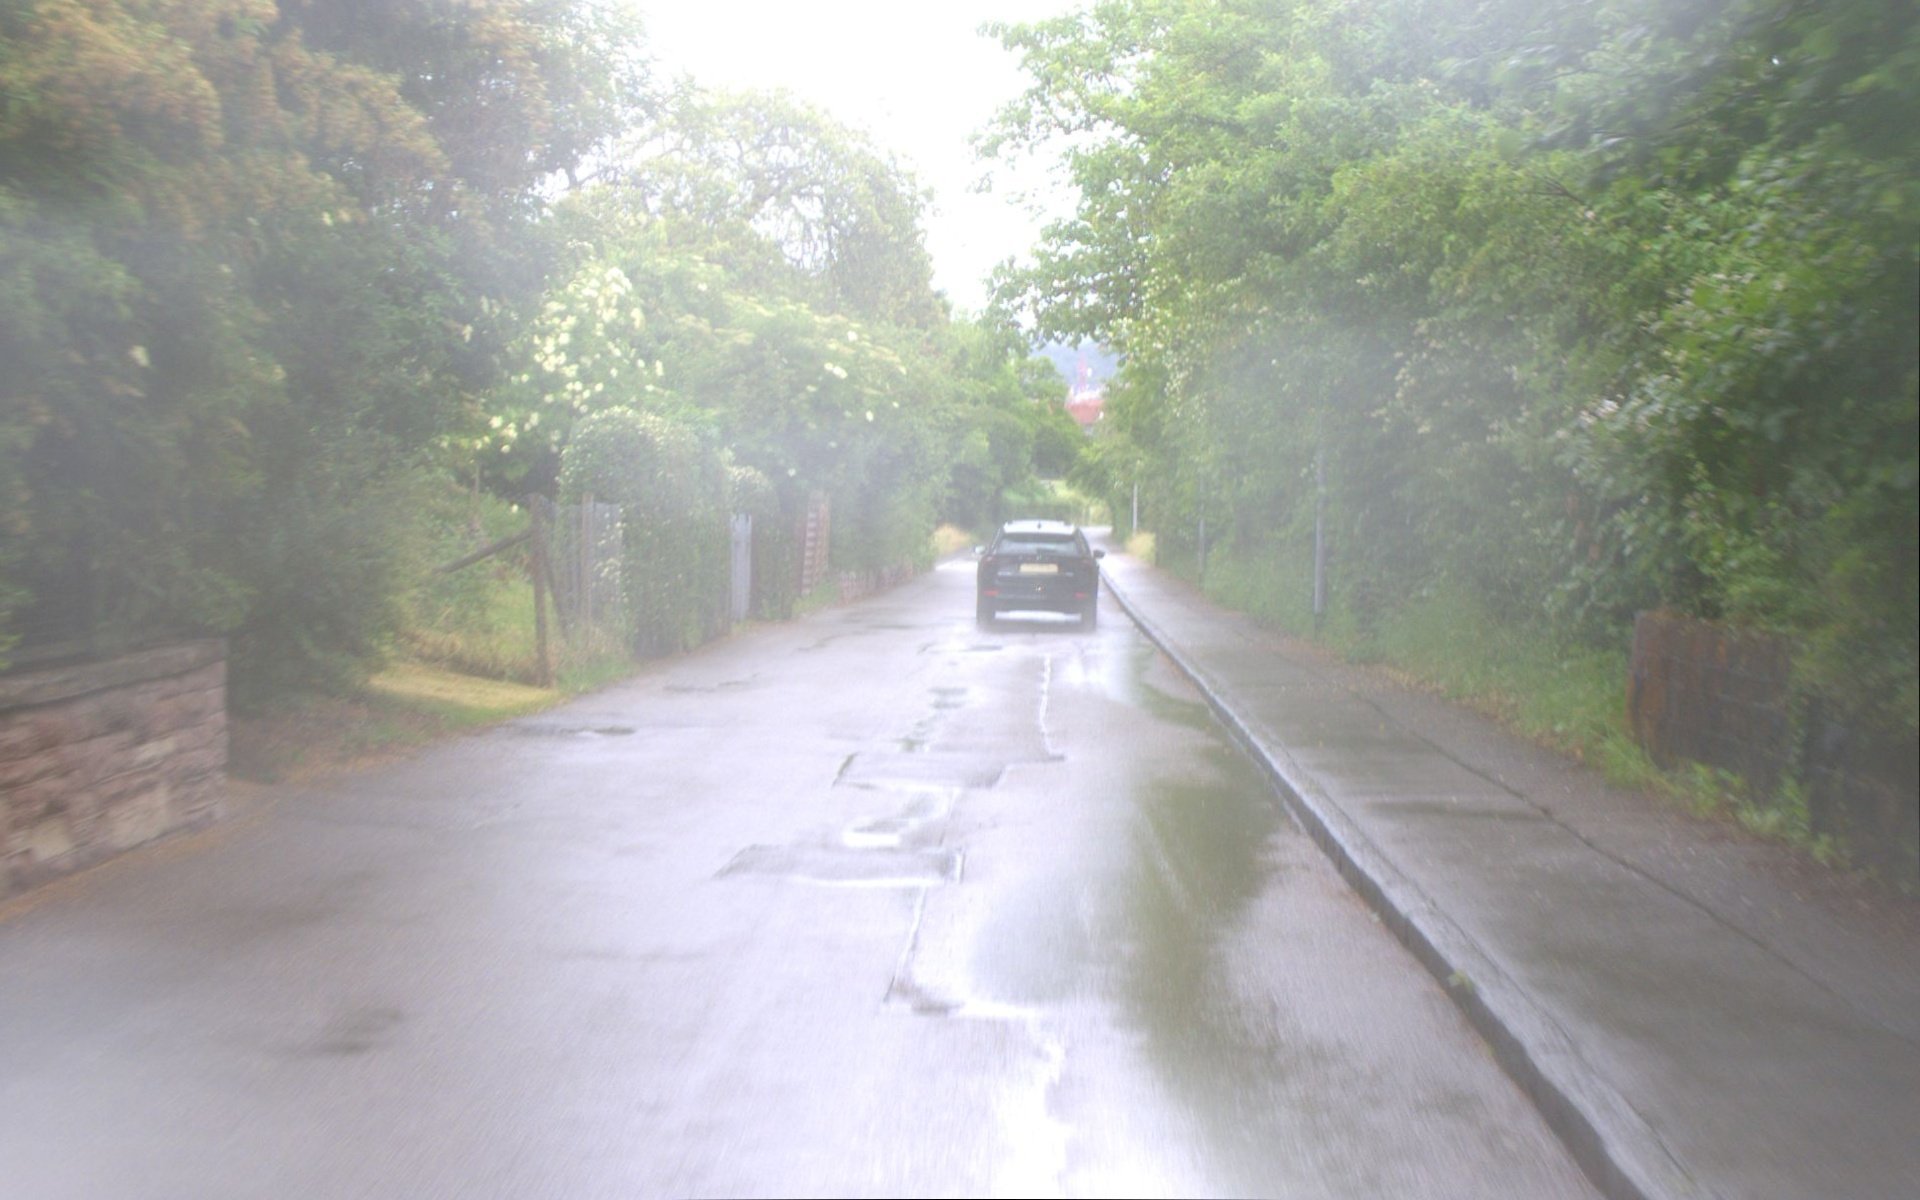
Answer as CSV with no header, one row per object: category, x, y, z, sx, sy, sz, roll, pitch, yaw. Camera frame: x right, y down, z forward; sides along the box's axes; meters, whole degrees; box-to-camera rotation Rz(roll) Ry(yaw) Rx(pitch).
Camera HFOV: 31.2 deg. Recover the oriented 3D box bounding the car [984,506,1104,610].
car,1.269,-0.605,50.704,1.635,1.445,3.544,1,0,3
